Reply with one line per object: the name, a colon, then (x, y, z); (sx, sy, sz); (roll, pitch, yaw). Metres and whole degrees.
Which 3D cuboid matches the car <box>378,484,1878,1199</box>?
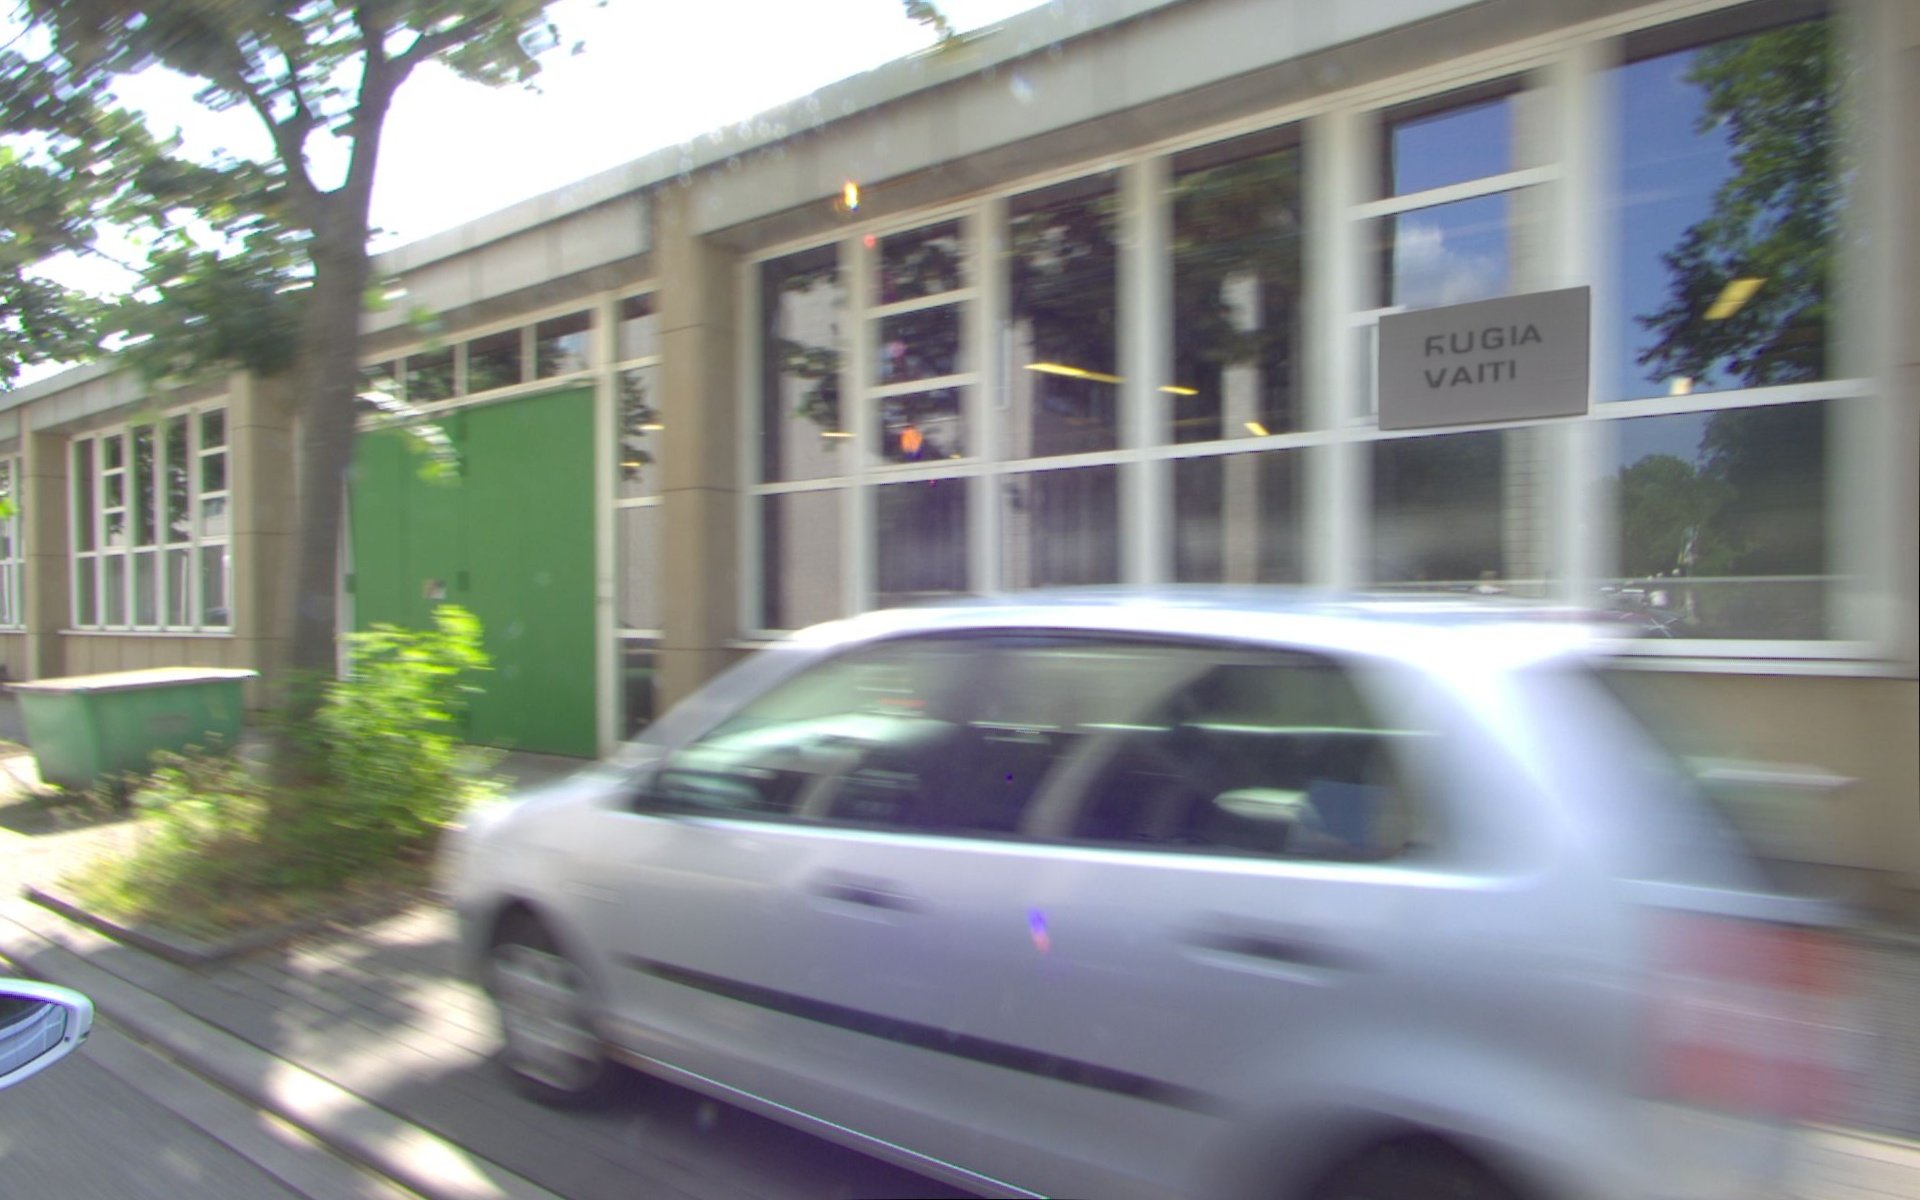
car: (0.051, 0.650, 2.990); (3.727, 1.559, 1.612); (0, 0, 33)
